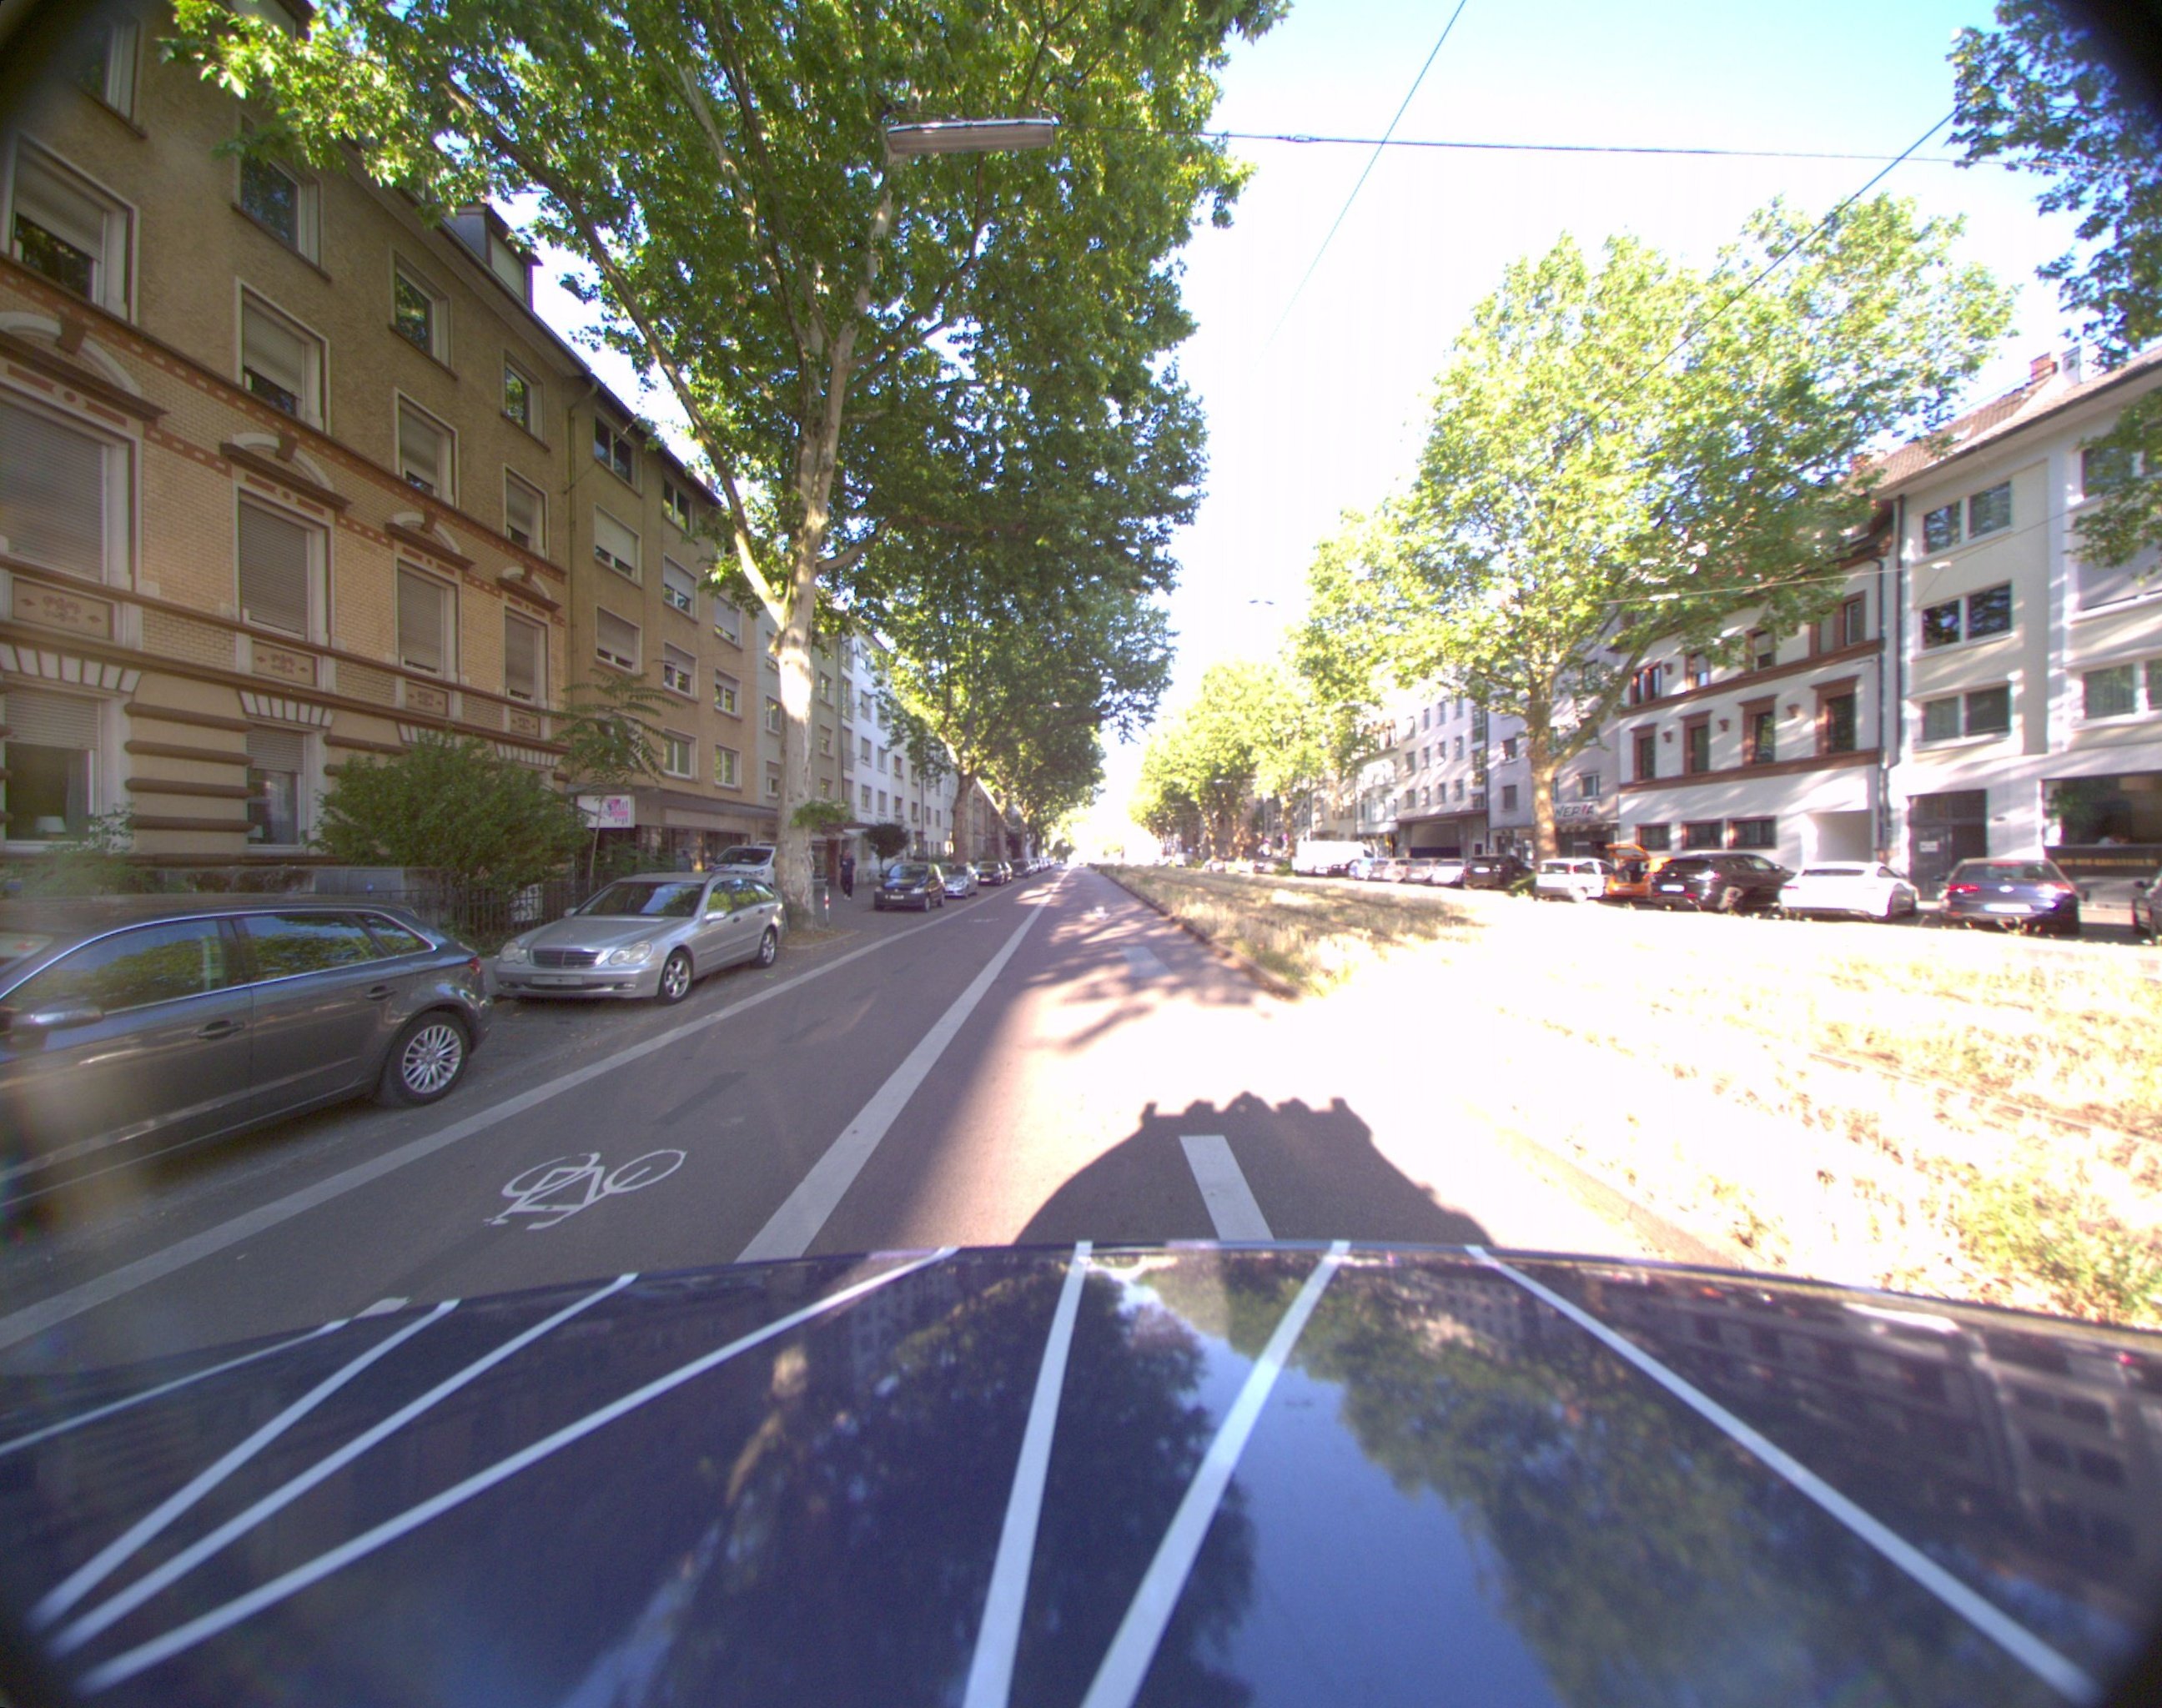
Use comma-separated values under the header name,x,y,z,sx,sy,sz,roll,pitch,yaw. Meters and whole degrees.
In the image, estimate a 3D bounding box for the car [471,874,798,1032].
name,x,y,z,sx,sy,sz,roll,pitch,yaw
car,-5.343,1.056,9.936,1.678,1.443,4.570,0,0,-2

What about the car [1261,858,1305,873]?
name,x,y,z,sx,sy,sz,roll,pitch,yaw
car,18.708,1.035,70.270,4.014,1.349,1.797,1,0,-37

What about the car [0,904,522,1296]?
name,x,y,z,sx,sy,sz,roll,pitch,yaw
car,-5.183,1.083,3.669,1.714,1.388,4.321,0,0,1

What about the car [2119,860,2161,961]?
name,x,y,z,sx,sy,sz,roll,pitch,yaw
car,19.057,0.887,12.692,4.007,1.433,1.717,-3,1,-41

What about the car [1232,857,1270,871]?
name,x,y,z,sx,sy,sz,roll,pitch,yaw
car,18.221,1.031,81.441,3.687,1.382,1.822,-1,0,-31

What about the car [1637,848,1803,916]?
name,x,y,z,sx,sy,sz,roll,pitch,yaw
car,18.300,0.781,21.759,4.370,1.776,1.989,1,1,-26

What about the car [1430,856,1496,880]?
name,x,y,z,sx,sy,sz,roll,pitch,yaw
car,28.508,1.012,56.804,3.997,1.710,1.905,0,1,-1

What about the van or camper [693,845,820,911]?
name,x,y,z,sx,sy,sz,roll,pitch,yaw
van or camper,-10.434,0.708,24.966,1.947,1.911,5.390,0,0,-1

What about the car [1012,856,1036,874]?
name,x,y,z,sx,sy,sz,roll,pitch,yaw
car,-5.473,1.007,73.273,1.999,1.557,4.663,2,0,0

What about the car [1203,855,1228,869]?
name,x,y,z,sx,sy,sz,roll,pitch,yaw
car,15.056,0.877,85.207,1.825,1.381,4.483,2,0,-1

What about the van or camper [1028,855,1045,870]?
name,x,y,z,sx,sy,sz,roll,pitch,yaw
van or camper,-5.398,1.012,92.715,1.790,1.710,4.379,1,0,1

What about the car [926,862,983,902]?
name,x,y,z,sx,sy,sz,roll,pitch,yaw
car,-5.307,1.146,32.486,1.699,1.533,4.776,0,0,-1

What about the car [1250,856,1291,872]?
name,x,y,z,sx,sy,sz,roll,pitch,yaw
car,19.230,1.042,76.937,4.008,1.524,1.821,2,-1,-36

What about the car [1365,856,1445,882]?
name,x,y,z,sx,sy,sz,roll,pitch,yaw
car,19.178,0.893,45.090,4.002,1.483,1.948,0,0,-13

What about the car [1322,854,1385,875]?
name,x,y,z,sx,sy,sz,roll,pitch,yaw
car,19.713,0.729,54.952,4.004,1.482,1.996,0,0,-22

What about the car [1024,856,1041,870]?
name,x,y,z,sx,sy,sz,roll,pitch,yaw
car,-5.534,1.024,86.416,1.702,1.517,4.194,0,0,0

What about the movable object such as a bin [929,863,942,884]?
name,x,y,z,sx,sy,sz,roll,pitch,yaw
movable object such as a bin,-8.334,1.112,43.492,0.617,1.152,0.666,0,1,-3

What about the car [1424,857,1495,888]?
name,x,y,z,sx,sy,sz,roll,pitch,yaw
car,18.879,0.883,37.841,4.008,1.377,1.907,-2,0,-45

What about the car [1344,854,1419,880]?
name,x,y,z,sx,sy,sz,roll,pitch,yaw
car,18.967,0.792,48.042,3.998,1.412,1.857,-2,1,-4

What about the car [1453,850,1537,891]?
name,x,y,z,sx,sy,sz,roll,pitch,yaw
car,18.689,0.714,34.241,4.008,1.651,1.995,-1,0,-41

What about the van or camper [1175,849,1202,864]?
name,x,y,z,sx,sy,sz,roll,pitch,yaw
van or camper,18.382,0.397,129.732,4.371,2.386,2.196,-4,2,-40

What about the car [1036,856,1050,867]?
name,x,y,z,sx,sy,sz,roll,pitch,yaw
car,-5.469,1.076,109.739,1.790,1.609,3.829,1,0,0

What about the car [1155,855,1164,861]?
name,x,y,z,sx,sy,sz,roll,pitch,yaw
car,20.948,0.970,202.589,1.998,1.412,4.000,-2,0,2

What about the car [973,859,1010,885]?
name,x,y,z,sx,sy,sz,roll,pitch,yaw
car,-5.311,1.045,45.686,1.713,1.407,4.363,2,0,0

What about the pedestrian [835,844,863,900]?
name,x,y,z,sx,sy,sz,roll,pitch,yaw
pedestrian,-8.411,0.654,27.587,0.684,2.002,1.012,0,1,-2

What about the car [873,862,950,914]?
name,x,y,z,sx,sy,sz,roll,pitch,yaw
car,-5.425,1.041,24.730,1.658,1.536,3.999,0,0,-1

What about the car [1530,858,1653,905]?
name,x,y,z,sx,sy,sz,roll,pitch,yaw
car,18.042,0.919,26.821,4.369,1.440,1.655,-1,1,-26

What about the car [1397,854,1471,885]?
name,x,y,z,sx,sy,sz,roll,pitch,yaw
car,19.068,0.813,40.959,4.006,1.414,1.752,-3,1,-34

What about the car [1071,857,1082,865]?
name,x,y,z,sx,sy,sz,roll,pitch,yaw
car,-0.871,1.413,150.737,1.893,1.501,4.000,-2,0,1

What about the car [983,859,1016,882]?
name,x,y,z,sx,sy,sz,roll,pitch,yaw
car,-5.396,1.066,50.576,1.713,1.407,4.363,2,0,0

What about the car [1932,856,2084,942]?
name,x,y,z,sx,sy,sz,roll,pitch,yaw
car,19.363,0.854,16.033,4.007,1.433,1.797,-3,1,-43

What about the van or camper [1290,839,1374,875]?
name,x,y,z,sx,sy,sz,roll,pitch,yaw
van or camper,18.990,0.196,57.463,5.974,2.630,2.175,-1,0,-20

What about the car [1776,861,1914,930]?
name,x,y,z,sx,sy,sz,roll,pitch,yaw
car,18.613,0.924,18.464,4.212,1.325,1.718,-3,1,-36

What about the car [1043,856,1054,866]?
name,x,y,z,sx,sy,sz,roll,pitch,yaw
car,-5.478,1.110,127.106,1.791,1.585,4.013,1,0,-2

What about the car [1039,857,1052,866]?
name,x,y,z,sx,sy,sz,roll,pitch,yaw
car,-5.593,1.149,119.812,1.790,1.458,3.569,1,0,0

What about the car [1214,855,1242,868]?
name,x,y,z,sx,sy,sz,roll,pitch,yaw
car,18.846,0.924,97.416,1.726,1.643,4.009,-1,-1,40

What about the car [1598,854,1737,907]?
name,x,y,z,sx,sy,sz,roll,pitch,yaw
car,19.501,0.839,25.271,4.003,1.471,1.774,-3,1,-20

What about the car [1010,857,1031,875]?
name,x,y,z,sx,sy,sz,roll,pitch,yaw
car,-5.272,1.039,66.497,1.748,1.455,4.024,0,0,-5

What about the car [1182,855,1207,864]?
name,x,y,z,sx,sy,sz,roll,pitch,yaw
car,18.995,0.955,127.208,4.006,1.240,1.726,-4,1,-34

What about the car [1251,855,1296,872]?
name,x,y,z,sx,sy,sz,roll,pitch,yaw
car,18.655,0.947,73.557,4.169,1.583,1.932,2,-1,-36

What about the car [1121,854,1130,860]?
name,x,y,z,sx,sy,sz,roll,pitch,yaw
car,12.041,0.760,206.138,1.997,1.477,4.002,-2,0,8

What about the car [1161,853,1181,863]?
name,x,y,z,sx,sy,sz,roll,pitch,yaw
car,18.340,0.817,154.820,4.007,2.002,1.995,-3,1,-42
